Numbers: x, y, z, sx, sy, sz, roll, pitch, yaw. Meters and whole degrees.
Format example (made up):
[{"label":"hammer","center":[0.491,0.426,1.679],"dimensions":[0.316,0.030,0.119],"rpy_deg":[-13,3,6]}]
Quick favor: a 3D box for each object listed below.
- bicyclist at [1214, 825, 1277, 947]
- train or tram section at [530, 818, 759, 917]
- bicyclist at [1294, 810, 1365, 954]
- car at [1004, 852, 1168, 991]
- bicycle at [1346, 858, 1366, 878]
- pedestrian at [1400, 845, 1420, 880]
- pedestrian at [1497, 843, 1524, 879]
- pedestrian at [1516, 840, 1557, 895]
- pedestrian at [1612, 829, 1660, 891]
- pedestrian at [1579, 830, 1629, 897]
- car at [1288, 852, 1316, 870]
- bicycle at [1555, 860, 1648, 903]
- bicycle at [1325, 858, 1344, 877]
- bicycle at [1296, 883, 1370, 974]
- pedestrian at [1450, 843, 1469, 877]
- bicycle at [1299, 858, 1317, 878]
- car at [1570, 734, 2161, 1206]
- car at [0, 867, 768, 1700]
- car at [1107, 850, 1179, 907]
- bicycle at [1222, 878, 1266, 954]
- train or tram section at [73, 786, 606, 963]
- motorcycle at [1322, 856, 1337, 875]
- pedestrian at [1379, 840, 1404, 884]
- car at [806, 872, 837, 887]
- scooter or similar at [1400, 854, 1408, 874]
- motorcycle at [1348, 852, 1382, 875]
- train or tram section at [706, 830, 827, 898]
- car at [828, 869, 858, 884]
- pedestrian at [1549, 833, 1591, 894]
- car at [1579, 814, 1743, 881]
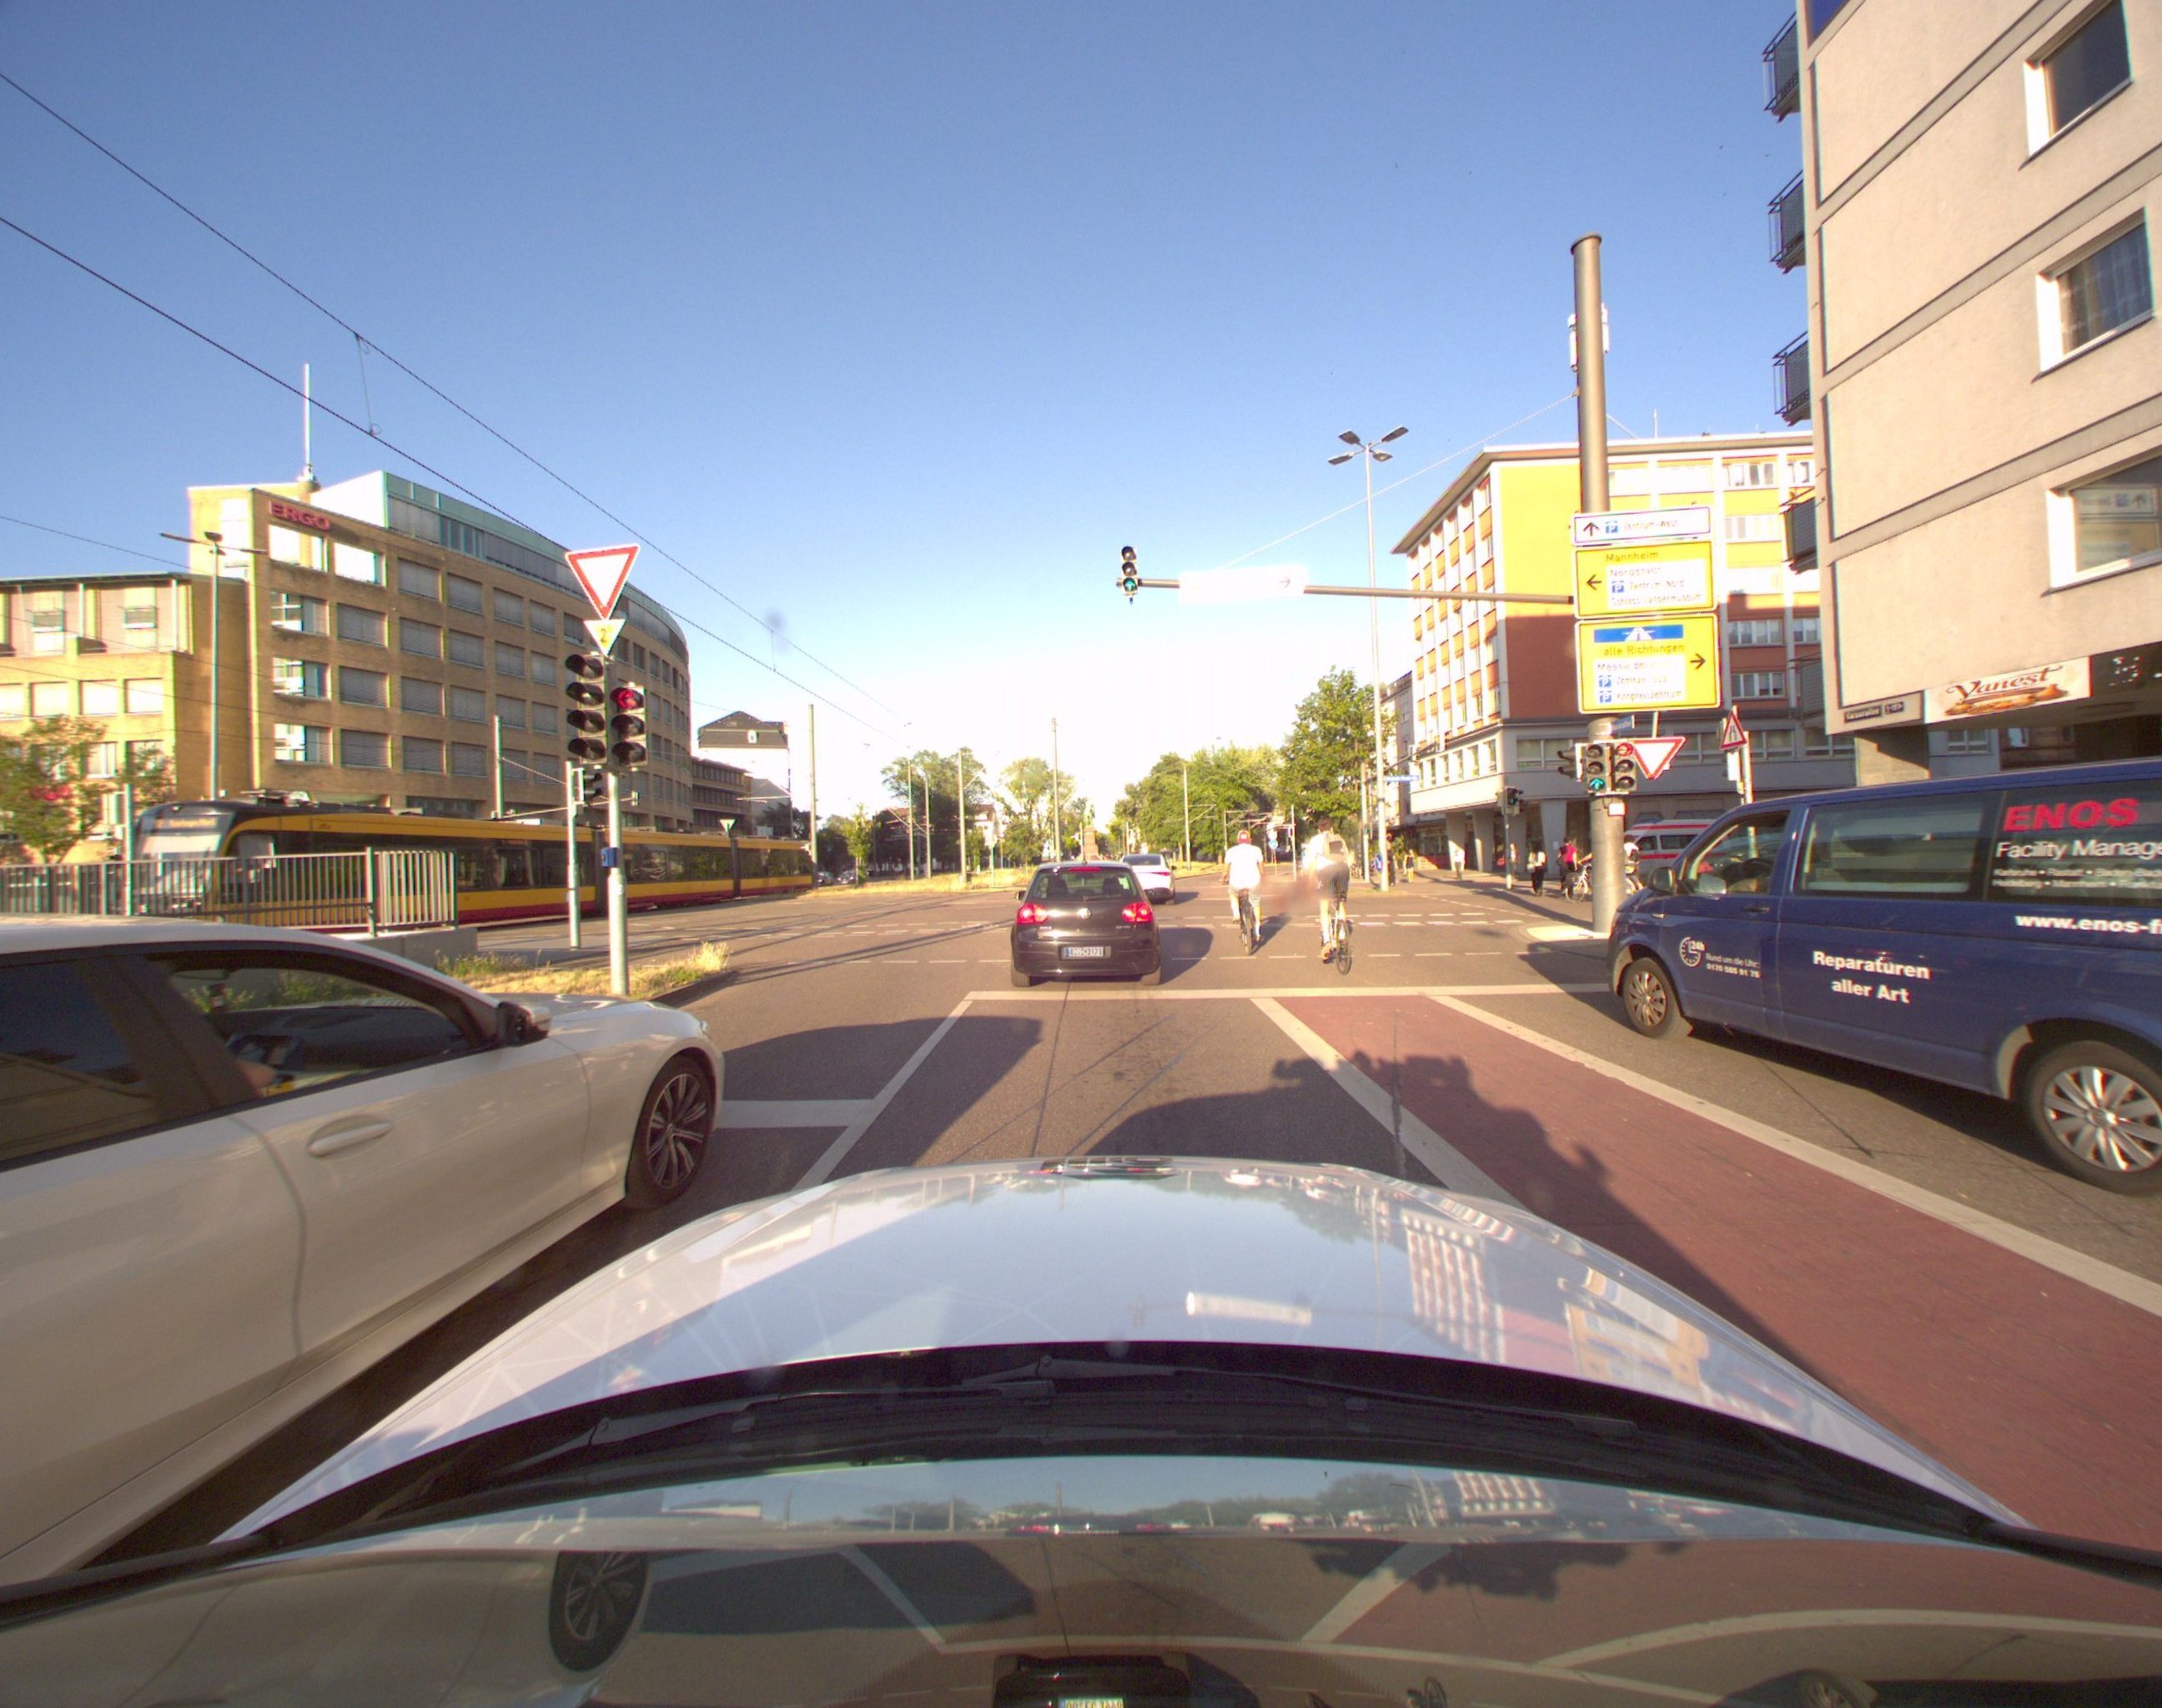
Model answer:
[{"label":"bicyclist","center":[2.536,0.481,12.656],"dimensions":[0.822,1.807,1.059],"rpy_deg":[-2,-1,6]},{"label":"train or tram section","center":[-18.641,0.531,36.542],"dimensions":[2.763,3.536,13.255],"rpy_deg":[-2,0,1]},{"label":"bicyclist","center":[3.287,0.361,10.854],"dimensions":[0.670,1.807,0.995],"rpy_deg":[-2,-1,6]},{"label":"car","center":[0.081,0.741,10.878],"dimensions":[1.742,1.461,4.103],"rpy_deg":[-1,0,1]},{"label":"bicycle","center":[17.025,0.849,50.495],"dimensions":[0.642,1.158,2.126],"rpy_deg":[-2,0,4]},{"label":"pedestrian","center":[15.331,0.408,37.960],"dimensions":[0.678,1.589,0.748],"rpy_deg":[-2,0,6]},{"label":"pedestrian","center":[21.244,0.351,40.284],"dimensions":[0.780,1.701,1.028],"rpy_deg":[-2,0,3]},{"label":"pedestrian","center":[12.624,0.370,22.598],"dimensions":[0.679,1.500,0.747],"rpy_deg":[-2,0,3]},{"label":"pedestrian","center":[15.604,0.167,22.913],"dimensions":[0.724,1.662,0.906],"rpy_deg":[-2,0,3]},{"label":"pedestrian","center":[12.827,0.246,19.979],"dimensions":[0.680,1.590,0.753],"rpy_deg":[0,-3,-34]},{"label":"car","center":[20.112,0.612,74.105],"dimensions":[1.712,1.472,3.922],"rpy_deg":[-5,-2,25]},{"label":"bicycle","center":[12.785,0.665,20.058],"dimensions":[0.524,0.980,1.830],"rpy_deg":[-2,0,-34]},{"label":"bicycle","center":[15.716,0.843,50.544],"dimensions":[0.642,1.126,1.876],"rpy_deg":[-2,0,4]},{"label":"bicycle","center":[3.271,0.931,10.719],"dimensions":[0.572,1.028,1.860],"rpy_deg":[-2,0,6]},{"label":"pedestrian","center":[19.298,0.280,41.536],"dimensions":[0.566,1.701,0.813],"rpy_deg":[-2,0,3]},{"label":"bicycle","center":[14.087,0.861,50.547],"dimensions":[0.642,1.126,1.876],"rpy_deg":[-2,0,4]},{"label":"car","center":[5.440,0.456,5.100],"dimensions":[1.929,1.933,4.834],"rpy_deg":[-2,0,2]},{"label":"car","center":[-2.758,0.767,2.278],"dimensions":[1.830,1.401,4.586],"rpy_deg":[1,0,2]},{"label":"car","center":[1.941,0.654,24.168],"dimensions":[1.855,1.441,4.205],"rpy_deg":[-3,0,7]},{"label":"bicycle","center":[2.522,0.931,12.748],"dimensions":[0.476,1.028,1.985],"rpy_deg":[-2,0,7]},{"label":"train or tram section","center":[-19.014,0.453,23.246],"dimensions":[2.763,3.536,13.255],"rpy_deg":[-2,0,1]},{"label":"motorcycle","center":[16.957,0.768,55.563],"dimensions":[0.662,1.242,2.206],"rpy_deg":[-2,0,8]},{"label":"pedestrian","center":[12.488,0.308,32.788],"dimensions":[0.658,1.704,1.073],"rpy_deg":[-2,0,7]},{"label":"car","center":[-23.020,2.249,72.318],"dimensions":[1.515,1.153,3.598],"rpy_deg":[-2,0,0]},{"label":"scooter or similar","center":[20.656,0.623,52.072],"dimensions":[0.411,1.254,1.189],"rpy_deg":[-2,0,21]},{"label":"motorcycle","center":[18.733,0.627,53.727],"dimensions":[2.031,1.406,0.762],"rpy_deg":[-2,0,9]},{"label":"train or tram section","center":[-18.337,0.571,48.460],"dimensions":[2.763,3.536,10.574],"rpy_deg":[-2,0,1]},{"label":"car","center":[-22.968,2.152,78.720],"dimensions":[1.639,1.281,3.742],"rpy_deg":[-2,0,2]},{"label":"pedestrian","center":[13.586,0.264,22.639],"dimensions":[0.679,1.662,0.747],"rpy_deg":[-2,0,3]},{"label":"car","center":[23.582,-0.254,33.237],"dimensions":[5.230,2.482,1.926],"rpy_deg":[-2,0,1]}]
